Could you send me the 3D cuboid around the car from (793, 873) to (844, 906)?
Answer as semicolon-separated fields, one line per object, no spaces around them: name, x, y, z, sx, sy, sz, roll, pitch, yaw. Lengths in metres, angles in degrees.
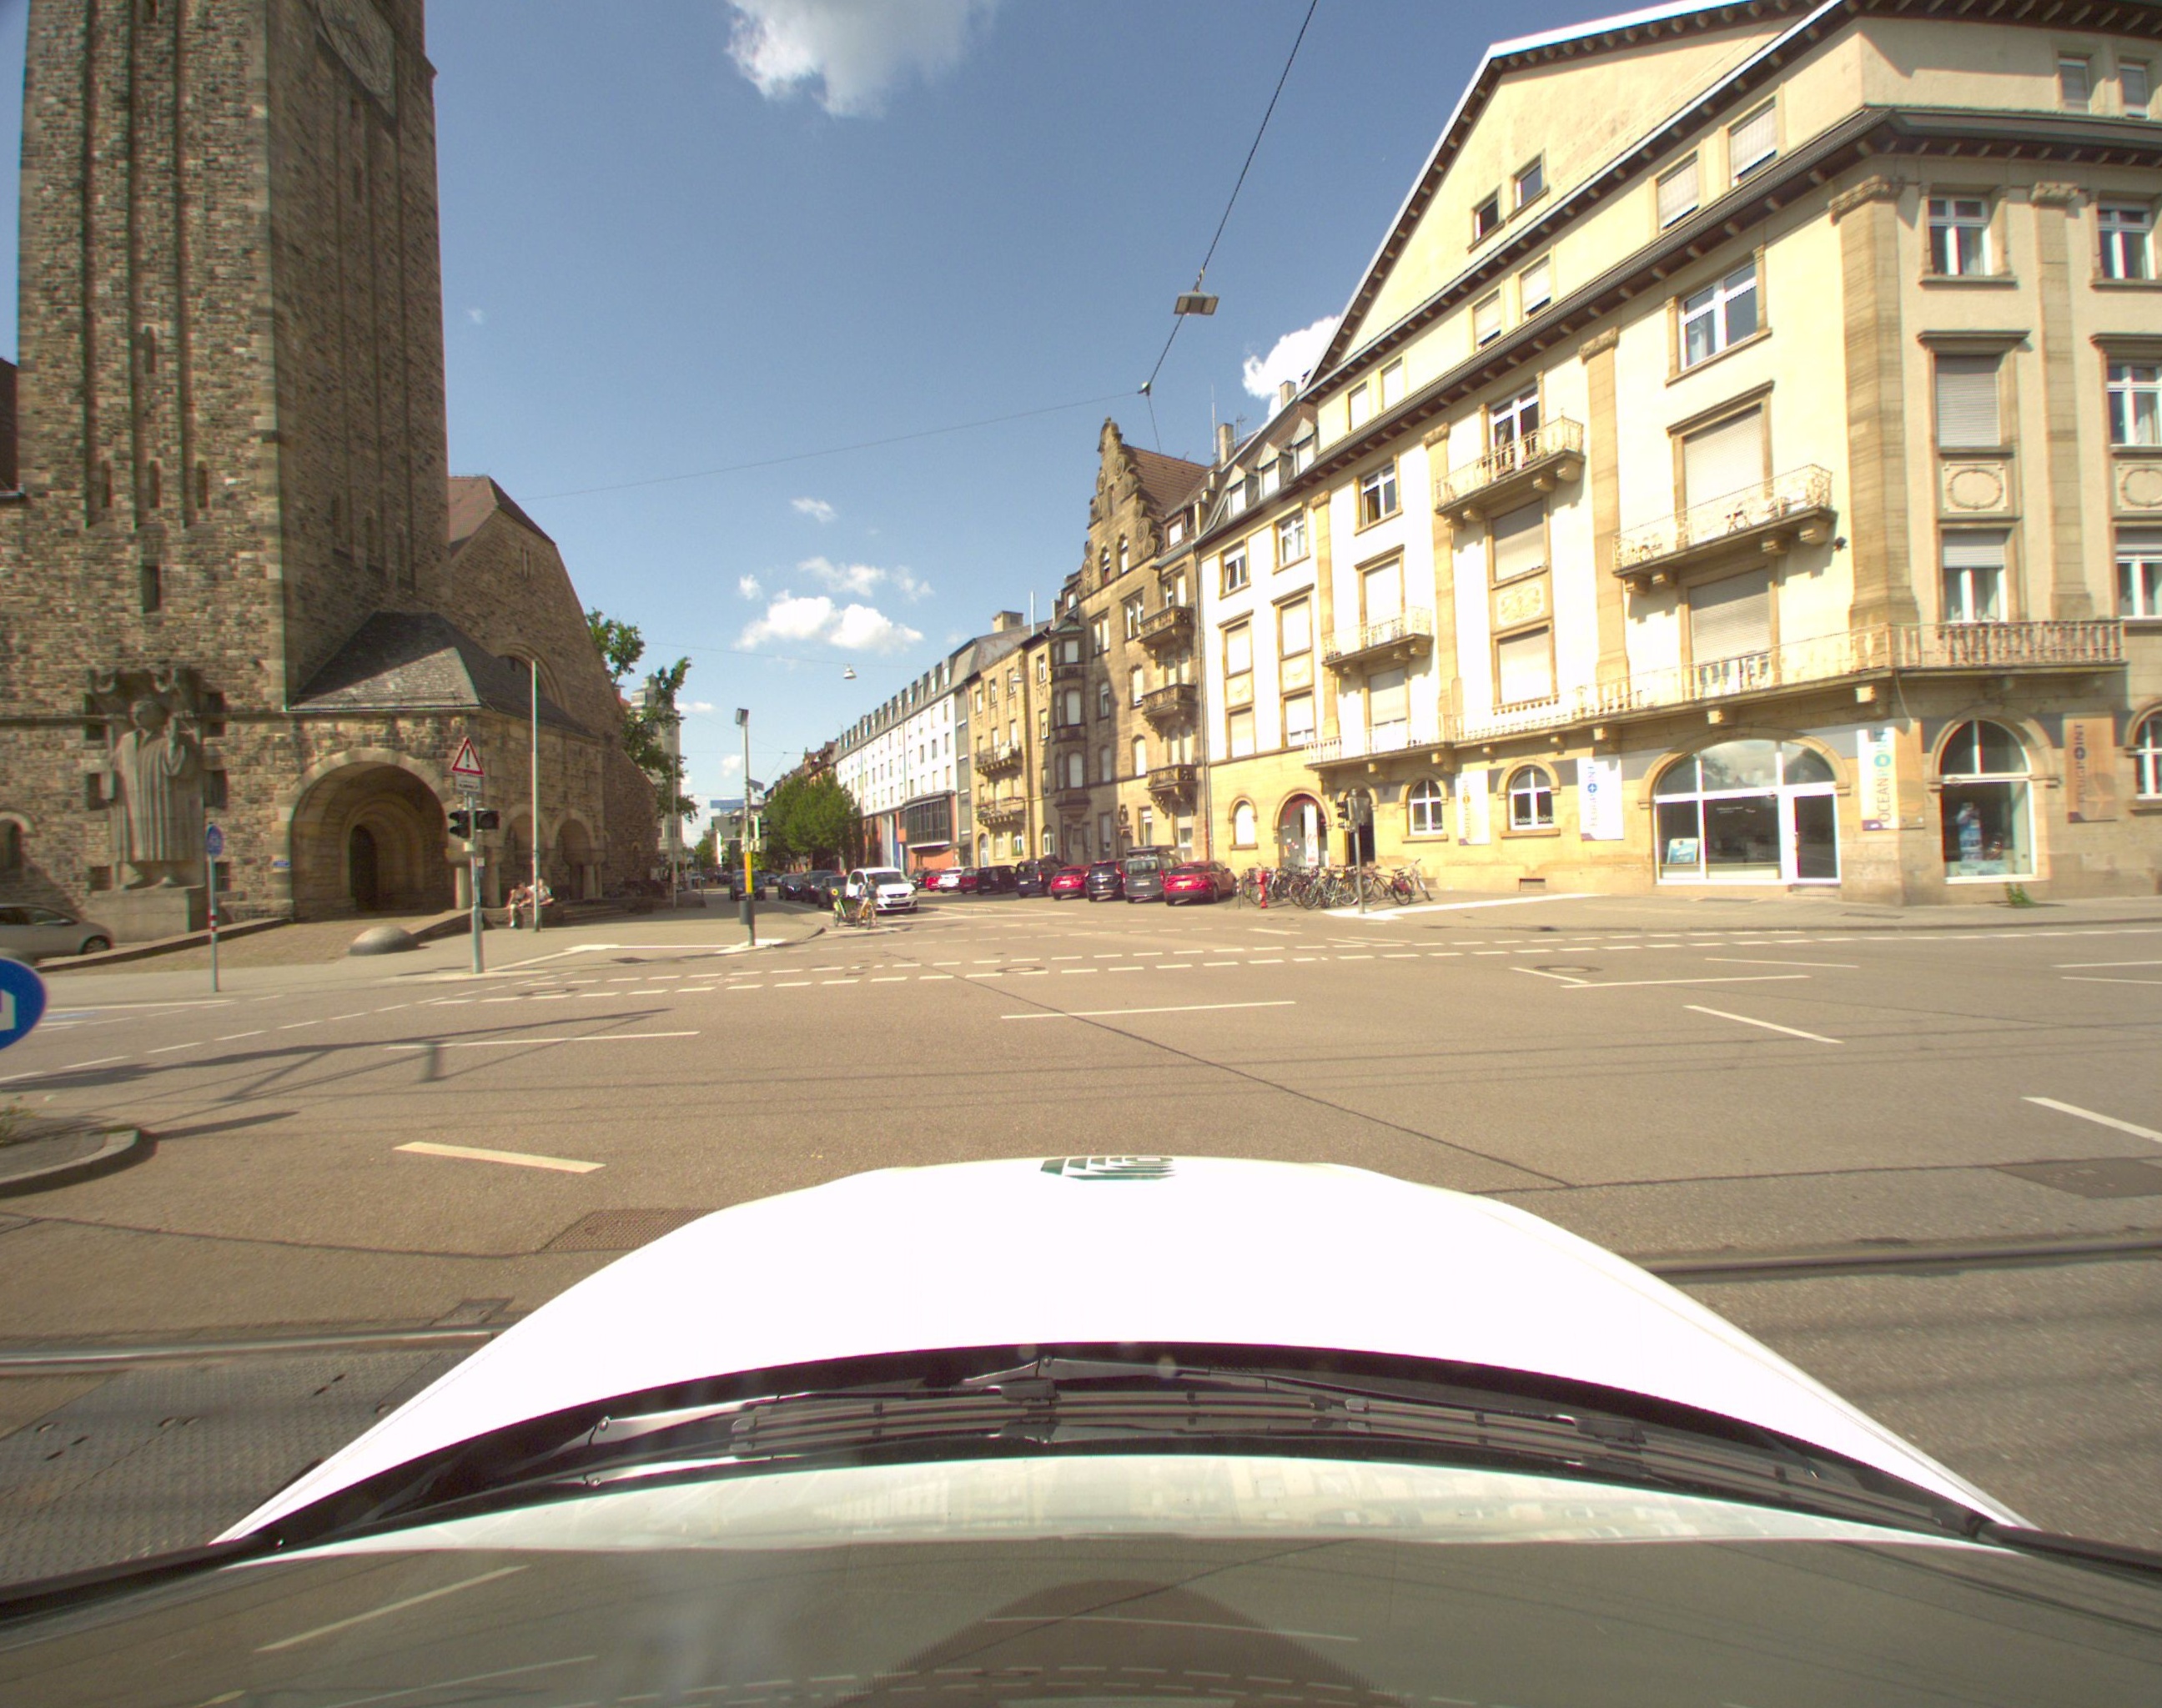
car;-13.731;1.818;42.484;1.708;1.596;4.033;-2;-1;-29

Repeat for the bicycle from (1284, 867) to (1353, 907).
bicycle;7.104;0.984;24.330;1.926;1.018;0.537;-4;1;-16

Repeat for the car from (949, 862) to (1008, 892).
car;-5.995;1.352;48.200;1.586;1.455;3.798;-4;1;25

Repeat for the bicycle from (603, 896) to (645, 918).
bicycle;-17.529;2.029;31.236;1.360;0.741;0.338;-2;-1;-6

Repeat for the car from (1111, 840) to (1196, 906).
car;2.928;0.709;32.131;1.944;2.081;4.025;-4;3;25

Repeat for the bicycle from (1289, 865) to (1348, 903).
bicycle;7.566;0.947;25.896;1.935;1.018;0.535;-5;1;-30

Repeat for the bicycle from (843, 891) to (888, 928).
bicycle;-6.417;1.627;24.191;0.655;0.989;2.112;-1;-1;-33

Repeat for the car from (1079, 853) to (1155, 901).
car;1.597;0.933;34.412;1.689;1.668;4.024;-4;1;25

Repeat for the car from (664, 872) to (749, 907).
car;-19.619;1.858;42.682;3.921;1.652;2.045;-3;-1;28

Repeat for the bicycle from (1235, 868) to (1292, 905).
bicycle;5.926;1.048;26.349;1.936;1.018;0.534;-5;1;-34

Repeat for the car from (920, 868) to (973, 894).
car;-8.784;1.762;53.377;1.586;1.396;3.594;-4;1;25

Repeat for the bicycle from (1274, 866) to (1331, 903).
bicycle;7.214;0.968;26.484;1.935;1.018;0.535;-5;1;-30

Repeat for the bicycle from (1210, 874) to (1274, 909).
bicycle;4.933;1.157;25.042;1.904;1.018;0.543;-4;1;45

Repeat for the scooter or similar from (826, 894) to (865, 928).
scooter or similar;-7.394;1.761;25.555;0.894;0.977;1.119;-1;-1;-33

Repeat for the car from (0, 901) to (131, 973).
car;-26.321;2.057;19.950;1.789;1.547;3.772;-2;-1;-5

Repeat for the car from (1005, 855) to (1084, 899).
car;-1.750;1.091;40.578;1.892;1.824;4.026;-4;1;31

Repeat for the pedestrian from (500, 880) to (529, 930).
pedestrian;-17.049;1.522;24.509;0.511;1.406;0.562;5;6;39

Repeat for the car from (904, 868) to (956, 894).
car;-10.275;1.825;55.530;1.586;1.396;3.594;-4;1;25

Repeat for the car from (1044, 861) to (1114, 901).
car;-0.017;1.207;37.538;1.894;1.444;4.021;-4;1;20

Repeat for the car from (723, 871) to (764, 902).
car;-20.341;1.911;49.009;1.820;1.664;4.035;-3;1;-28

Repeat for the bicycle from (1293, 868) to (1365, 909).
bicycle;7.160;0.990;23.547;1.867;1.018;0.602;-4;1;-3

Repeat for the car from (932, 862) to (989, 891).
car;-7.462;1.369;50.649;1.586;1.500;3.798;-4;1;25

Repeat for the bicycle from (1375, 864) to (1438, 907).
bicycle;9.088;0.862;22.714;1.884;1.018;0.603;-5;1;-32

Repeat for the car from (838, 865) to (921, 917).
car;-7.685;1.352;30.748;1.820;1.740;4.619;-2;-1;-29

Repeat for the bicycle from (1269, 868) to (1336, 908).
bicycle;6.742;1.026;24.805;1.926;1.018;0.537;-5;1;-16

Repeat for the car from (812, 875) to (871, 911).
car;-10.666;1.681;36.052;1.680;1.450;3.700;-2;0;-29

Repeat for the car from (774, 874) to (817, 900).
car;-16.710;1.904;47.556;1.708;1.390;3.825;-2;0;-29

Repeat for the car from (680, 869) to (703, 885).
car;-35.851;2.118;75.001;1.645;1.325;3.715;-2;0;-22

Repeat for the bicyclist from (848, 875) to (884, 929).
bicyclist;-6.401;1.416;24.204;0.655;1.503;0.912;-6;1;-33

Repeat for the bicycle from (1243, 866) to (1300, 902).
bicycle;6.405;1.000;27.330;1.935;1.018;0.535;-5;1;-30

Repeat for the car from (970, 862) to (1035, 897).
car;-4.333;1.396;45.573;1.689;1.546;4.024;-4;1;25

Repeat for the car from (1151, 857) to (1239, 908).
car;4.161;0.970;29.263;1.944;1.441;4.024;-4;1;25

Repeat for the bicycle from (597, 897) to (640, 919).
bicycle;-17.499;2.048;30.800;1.360;0.741;0.338;-2;-1;-6

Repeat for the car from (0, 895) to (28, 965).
car;-29.661;2.059;20.263;1.855;1.824;4.007;-2;-1;-6

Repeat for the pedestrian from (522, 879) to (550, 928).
pedestrian;-16.689;1.518;24.955;0.511;1.406;0.562;5;6;39

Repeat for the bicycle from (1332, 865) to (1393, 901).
bicycle;8.626;0.881;25.040;0.541;1.018;1.912;-5;1;-25

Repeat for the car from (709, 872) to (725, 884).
car;-57.802;3.740;129.247;2.005;1.816;3.963;-2;-1;-28

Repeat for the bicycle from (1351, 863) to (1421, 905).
bicycle;8.778;0.844;23.434;1.877;1.018;0.606;-4;1;-20
